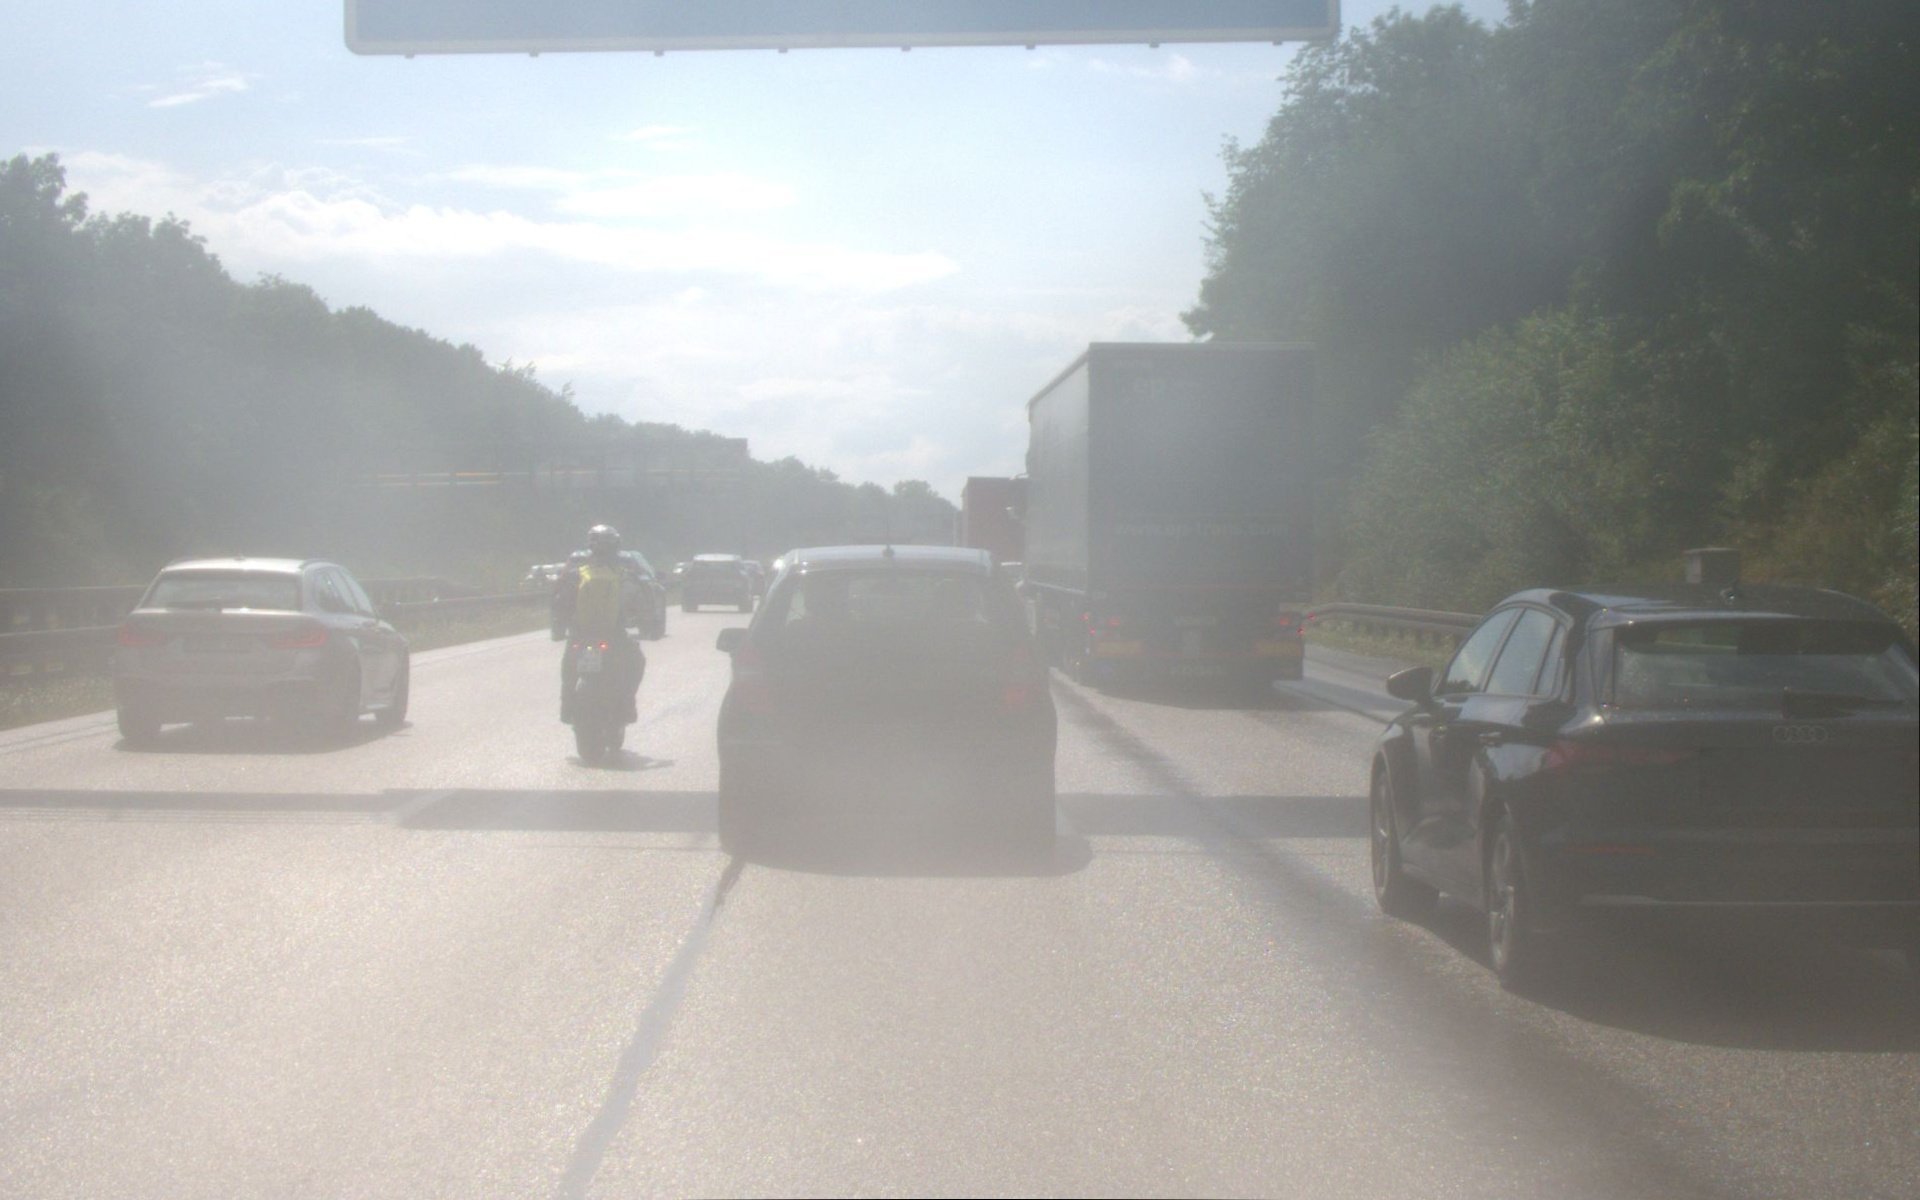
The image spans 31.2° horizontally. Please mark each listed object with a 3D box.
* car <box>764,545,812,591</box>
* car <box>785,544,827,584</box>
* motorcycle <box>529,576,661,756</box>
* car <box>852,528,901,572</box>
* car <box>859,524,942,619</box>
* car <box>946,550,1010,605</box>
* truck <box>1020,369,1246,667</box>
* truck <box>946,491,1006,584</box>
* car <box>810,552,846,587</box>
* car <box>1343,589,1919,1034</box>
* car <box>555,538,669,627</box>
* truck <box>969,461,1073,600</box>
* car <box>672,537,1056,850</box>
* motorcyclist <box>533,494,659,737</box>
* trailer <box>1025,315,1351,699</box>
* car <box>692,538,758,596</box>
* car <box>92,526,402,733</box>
[{"bbox_3d":[-7.627,-1.437,152.839,1.993,2.007,4.000,1,0,-1],"label":"car"},{"bbox_3d":[-7.839,-1.827,175.307,1.993,2.007,4.000,1,0,-1],"label":"car"},{"bbox_3d":[-2.700,0.464,25.636,0.819,1.258,2.118,1,1,-2],"label":"motorcycle"},{"bbox_3d":[-2.851,-1.717,117.436,1.631,1.485,3.437,0,1,-1],"label":"car"},{"bbox_3d":[-1.237,-0.605,71.623,1.675,1.929,3.774,0,1,-1],"label":"car"},{"bbox_3d":[0.474,-0.632,95.226,1.675,1.485,3.437,0,1,-1],"label":"car"},{"bbox_3d":[2.571,-1.261,53.006,3.052,4.310,5.887,1,1,-1],"label":"truck"},{"bbox_3d":[0.764,-3.243,181.389,2.882,4.671,12.659,1,0,-1],"label":"truck"},{"bbox_3d":[-7.557,-1.747,197.365,1.993,2.007,4.000,1,0,-1],"label":"car"},{"bbox_3d":[2.654,0.680,13.341,1.755,1.391,4.369,0,1,-1],"label":"car"},{"bbox_3d":[-6.591,-0.353,65.427,1.893,1.622,4.195,0,1,-2],"label":"car"},{"bbox_3d":[1.940,-2.262,113.646,3.202,4.389,9.432,0,1,0],"label":"truck"},{"bbox_3d":[-0.524,0.437,19.382,1.915,1.560,4.314,0,1,-1],"label":"car"},{"bbox_3d":[-2.700,0.107,25.607,0.821,1.755,1.390,1,0,-2],"label":"motorcyclist"},{"bbox_3d":[2.696,-1.138,45.660,3.088,4.298,14.106,0,1,-1],"label":"trailer"},{"bbox_3d":[-6.534,-0.929,95.932,1.675,1.591,3.437,0,1,-1],"label":"car"},{"bbox_3d":[-5.850,0.200,28.674,1.758,1.589,4.331,0,1,-1],"label":"car"}]
